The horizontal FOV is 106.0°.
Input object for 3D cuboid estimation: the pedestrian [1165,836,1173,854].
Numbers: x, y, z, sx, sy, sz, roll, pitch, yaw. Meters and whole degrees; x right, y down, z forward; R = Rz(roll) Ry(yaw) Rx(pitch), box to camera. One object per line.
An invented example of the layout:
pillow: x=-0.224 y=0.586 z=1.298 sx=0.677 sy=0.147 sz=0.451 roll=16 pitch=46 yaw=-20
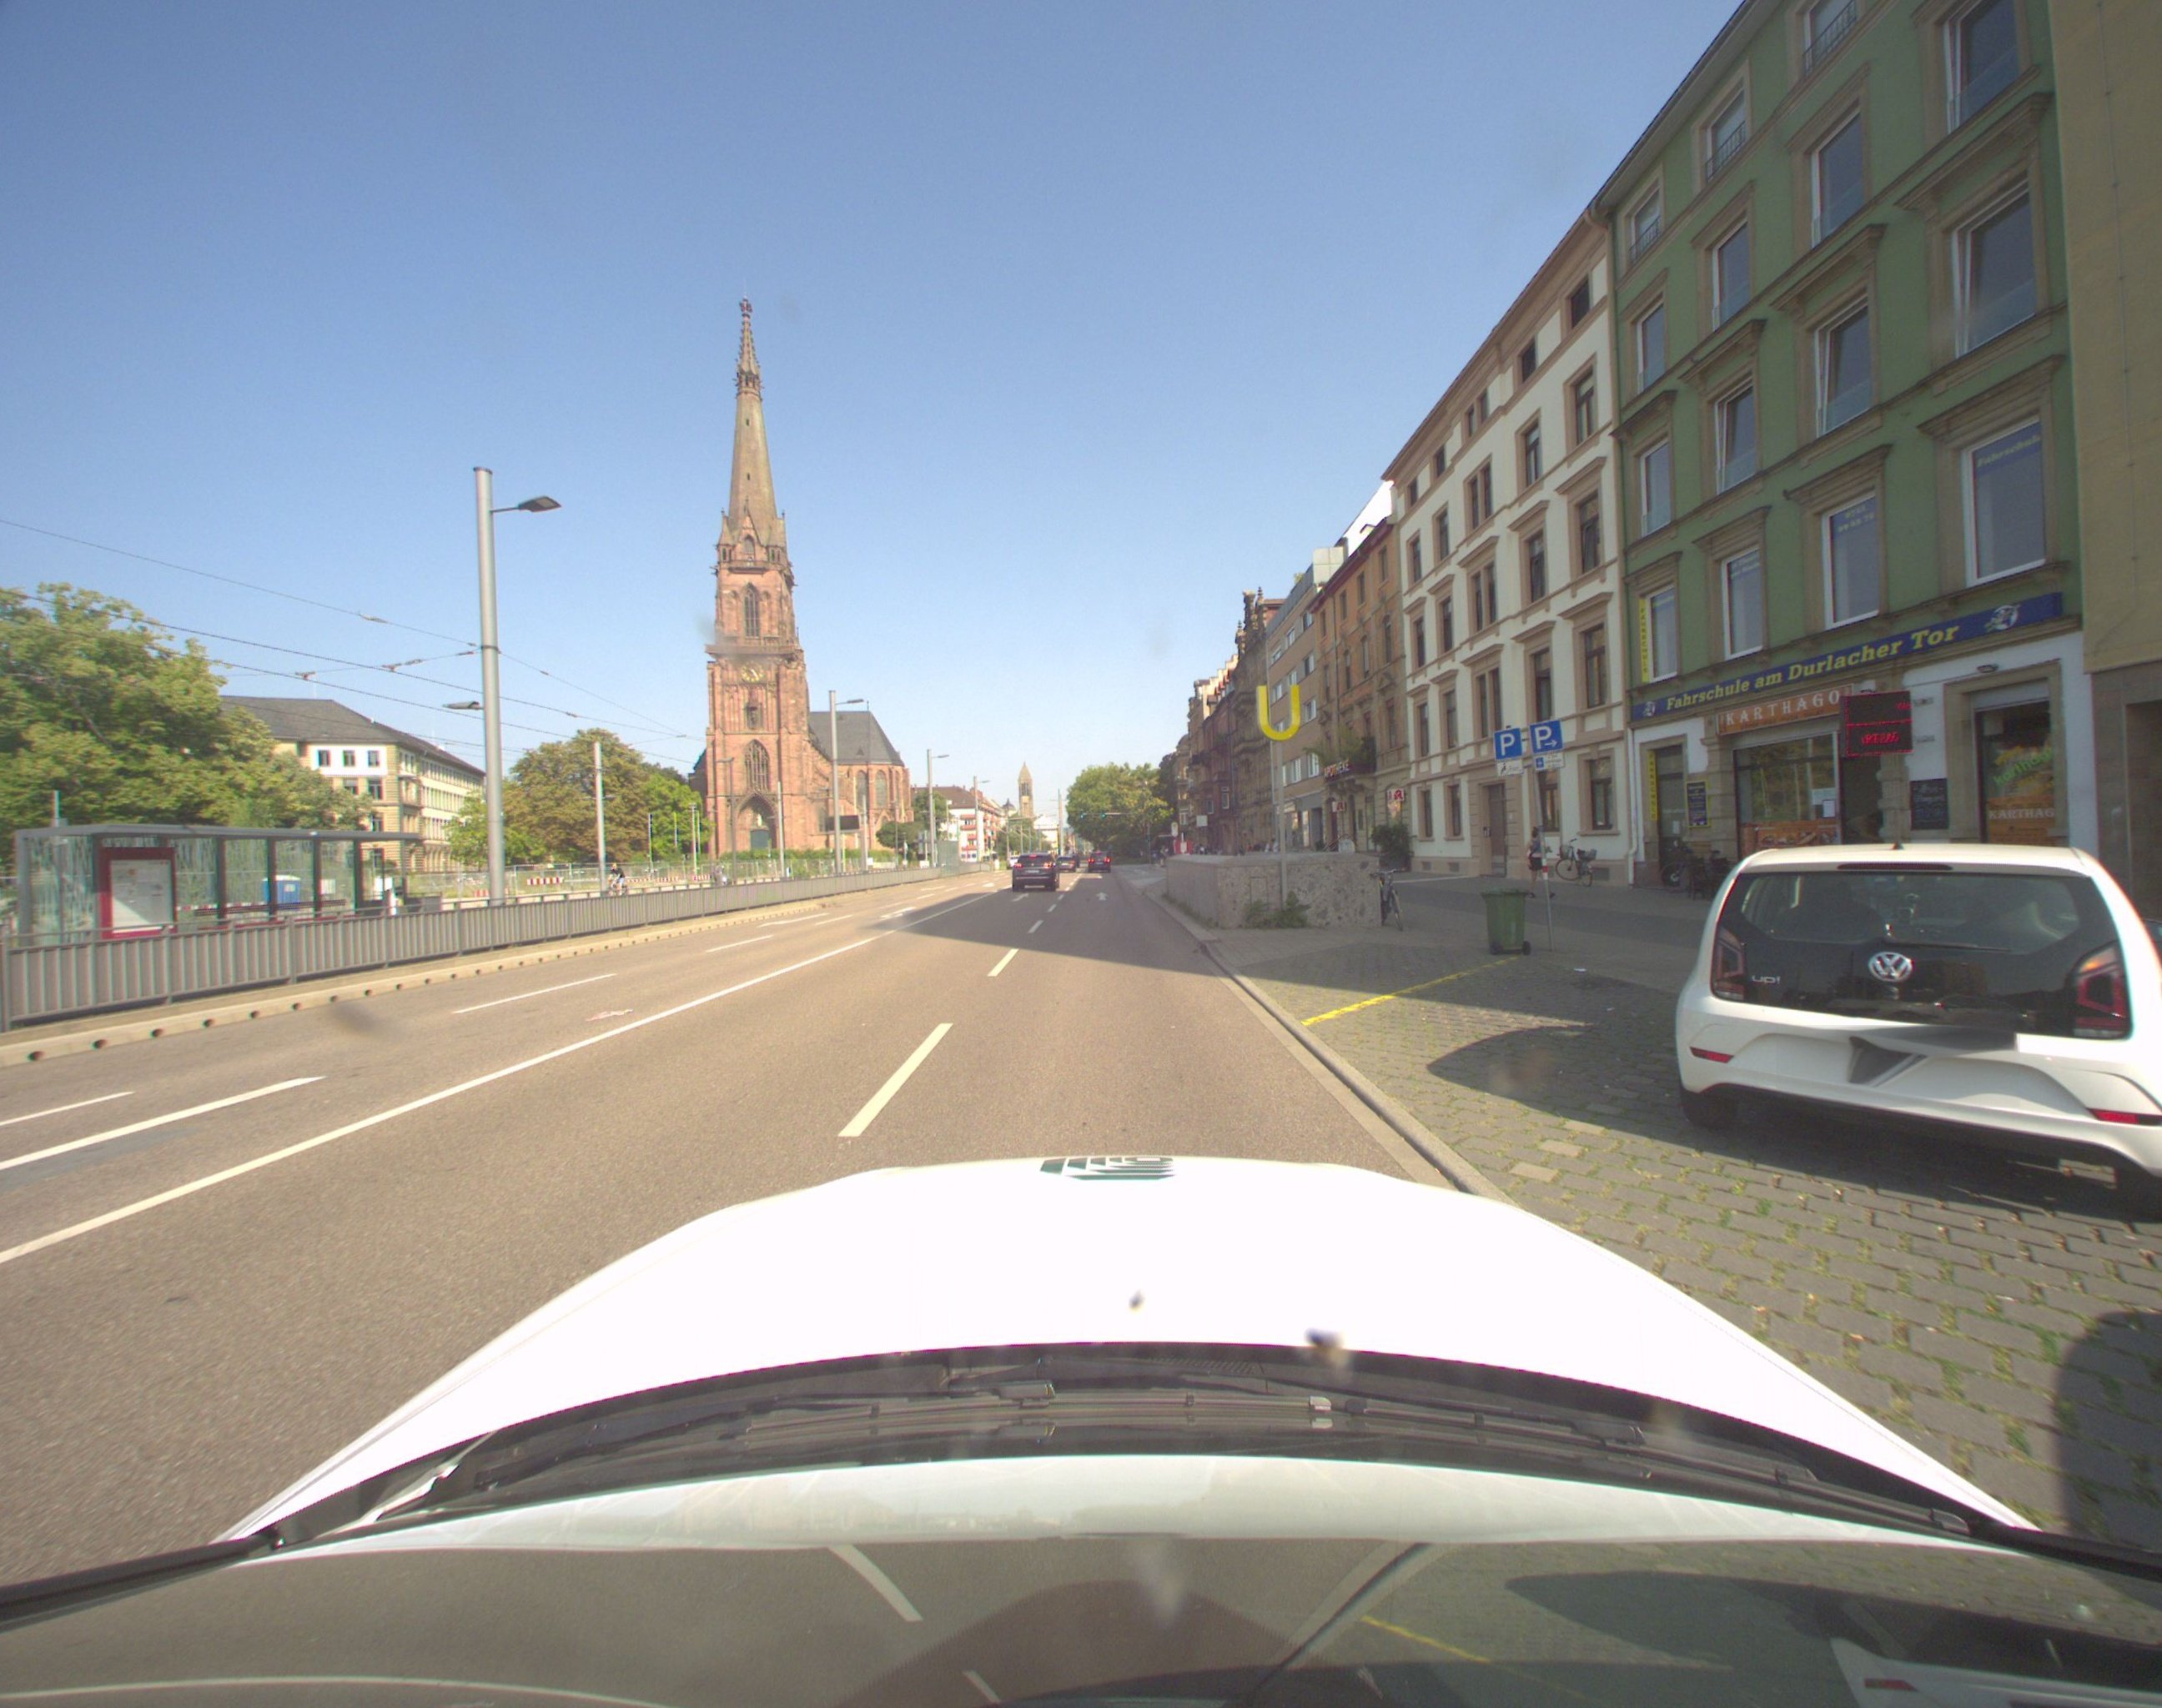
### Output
pedestrian: x=8.598 y=-0.875 z=79.849 sx=0.688 sy=1.664 sz=0.620 roll=-2 pitch=0 yaw=1

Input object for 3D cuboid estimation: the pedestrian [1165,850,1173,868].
pedestrian: x=7.816 y=0.446 z=72.561 sx=0.526 sy=1.612 sz=0.702 roll=-2 pitch=0 yaw=-2

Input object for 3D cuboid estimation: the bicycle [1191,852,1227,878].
bicycle: x=6.085 y=0.534 z=38.750 sx=1.626 sy=1.148 sz=0.602 roll=-3 pitch=0 yaw=3

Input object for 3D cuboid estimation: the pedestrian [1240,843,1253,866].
pedestrian: x=11.675 y=0.016 z=57.525 sx=0.717 sy=1.610 sz=0.856 roll=-2 pitch=0 yaw=2

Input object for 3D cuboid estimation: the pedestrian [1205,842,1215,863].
pedestrian: x=11.428 y=-0.144 z=72.144 sx=0.614 sy=1.804 sz=1.072 roll=-2 pitch=0 yaw=2

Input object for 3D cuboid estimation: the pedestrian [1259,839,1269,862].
pedestrian: x=14.074 y=-0.241 z=62.583 sx=0.602 sy=1.731 sz=0.510 roll=-2 pitch=0 yaw=-2

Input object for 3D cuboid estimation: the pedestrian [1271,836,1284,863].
pedestrian: x=13.654 y=-0.333 z=56.532 sx=0.602 sy=1.831 sz=0.742 roll=-2 pitch=0 yaw=-2

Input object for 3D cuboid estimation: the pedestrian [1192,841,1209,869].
pedestrian: x=8.039 y=0.039 z=54.971 sx=0.923 sy=1.831 sz=0.800 roll=-2 pitch=0 yaw=-2

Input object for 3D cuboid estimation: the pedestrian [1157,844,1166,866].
pedestrian: x=6.444 y=0.053 z=65.354 sx=0.563 sy=1.729 sz=0.745 roll=-2 pitch=0 yaw=-2

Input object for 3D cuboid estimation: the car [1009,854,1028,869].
car: x=-7.395 y=0.890 z=96.193 sx=1.707 sy=1.611 sz=4.506 roll=-4 pitch=0 yaw=1

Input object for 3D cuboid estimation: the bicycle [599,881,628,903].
bicycle: x=-22.624 y=1.841 z=39.438 sx=0.349 sy=0.954 sz=1.696 roll=-2 pitch=0 yaw=2

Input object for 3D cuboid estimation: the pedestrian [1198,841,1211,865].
pedestrian: x=8.999 y=-0.059 z=59.327 sx=0.747 sy=1.729 sz=0.800 roll=-2 pitch=0 yaw=-2

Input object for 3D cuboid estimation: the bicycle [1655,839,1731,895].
bicycle: x=13.349 y=0.268 z=17.825 sx=0.382 sy=1.134 sz=1.720 roll=-2 pitch=0 yaw=2

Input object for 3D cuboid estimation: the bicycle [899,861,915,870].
bicycle: x=-20.676 y=1.355 z=96.864 sx=1.747 sy=0.978 sz=0.481 roll=-2 pitch=-1 yaw=10

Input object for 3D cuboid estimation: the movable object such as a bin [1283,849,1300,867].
movable object such as a bin: x=13.099 y=0.262 z=50.664 sx=0.738 sy=1.080 sz=0.666 roll=-2 pitch=0 yaw=-16

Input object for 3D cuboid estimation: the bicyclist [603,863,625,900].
bicyclist: x=-22.577 y=1.306 z=39.378 sx=0.485 sy=1.747 sz=0.819 roll=-2 pitch=0 yaw=2

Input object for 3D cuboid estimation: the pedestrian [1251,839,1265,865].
pedestrian: x=12.479 y=-0.116 z=57.449 sx=0.717 sy=1.787 sz=0.856 roll=-2 pitch=0 yaw=2

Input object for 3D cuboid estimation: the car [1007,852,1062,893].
car: x=-1.951 y=0.751 z=35.305 sx=1.986 sy=1.621 sz=4.359 roll=-1 pitch=0 yaw=2

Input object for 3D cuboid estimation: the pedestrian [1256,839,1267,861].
pedestrian: x=14.108 y=-0.310 z=63.598 sx=0.602 sy=1.692 sz=0.586 roll=-2 pitch=0 yaw=-2

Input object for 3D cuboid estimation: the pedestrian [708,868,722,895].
pedestrian: x=-23.108 y=1.733 z=51.380 sx=0.515 sy=1.700 sz=0.664 roll=-2 pitch=0 yaw=0

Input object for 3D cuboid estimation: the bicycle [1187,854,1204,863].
bicycle: x=14.050 y=0.524 z=99.662 sx=1.924 sy=1.048 sz=0.499 roll=-2 pitch=0 yaw=-5

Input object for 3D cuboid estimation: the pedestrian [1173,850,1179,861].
pedestrian: x=7.422 y=0.106 z=63.560 sx=0.302 sy=0.820 sz=0.603 roll=-2 pitch=0 yaw=-6

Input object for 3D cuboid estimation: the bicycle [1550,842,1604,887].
bicycle: x=13.211 y=0.258 z=21.743 sx=0.382 sy=1.134 sz=1.720 roll=-2 pitch=0 yaw=2

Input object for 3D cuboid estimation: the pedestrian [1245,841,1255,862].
pedestrian: x=13.781 y=-0.195 z=66.393 sx=0.602 sy=1.654 sz=0.586 roll=-2 pitch=0 yaw=-2

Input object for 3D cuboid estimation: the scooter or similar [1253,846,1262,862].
scooter or similar: x=13.315 y=-0.018 z=61.345 sx=0.359 sy=1.163 sz=1.152 roll=-2 pitch=0 yaw=-1

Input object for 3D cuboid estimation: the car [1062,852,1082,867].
car: x=-0.943 y=0.543 z=84.593 sx=1.857 sy=1.424 sz=4.359 roll=-1 pitch=0 yaw=2

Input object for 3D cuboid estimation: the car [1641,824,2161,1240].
car: x=4.665 y=0.604 z=4.582 sx=3.547 sy=1.464 sz=1.604 roll=-2 pitch=0 yaw=-41

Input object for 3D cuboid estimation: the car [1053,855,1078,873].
car: x=-1.274 y=0.803 z=68.922 sx=1.857 sy=1.424 sz=4.359 roll=-1 pitch=0 yaw=2

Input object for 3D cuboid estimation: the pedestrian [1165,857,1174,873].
pedestrian: x=7.108 y=0.883 z=65.456 sx=0.563 sy=1.277 sz=0.596 roll=-2 pitch=0 yaw=-3

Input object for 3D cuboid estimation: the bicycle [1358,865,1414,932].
bicycle: x=5.713 y=0.797 z=15.336 sx=0.382 sy=1.134 sz=1.791 roll=-2 pitch=0 yaw=2

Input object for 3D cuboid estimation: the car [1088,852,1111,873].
car: x=1.535 y=0.655 z=66.854 sx=1.825 sy=1.621 sz=4.359 roll=-1 pitch=0 yaw=2

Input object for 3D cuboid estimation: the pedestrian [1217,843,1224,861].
pedestrian: x=12.341 y=-0.181 z=72.106 sx=0.484 sy=1.610 sz=0.813 roll=-2 pitch=0 yaw=2

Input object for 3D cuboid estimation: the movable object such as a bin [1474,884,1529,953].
movable object such as a bin: x=5.930 y=0.902 z=11.506 sx=0.487 sy=0.903 sz=0.538 roll=-2 pitch=0 yaw=4

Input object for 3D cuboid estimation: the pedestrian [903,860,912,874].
pedestrian: x=-20.630 y=1.563 z=96.854 sx=0.910 sy=1.679 sz=0.604 roll=-2 pitch=0 yaw=11

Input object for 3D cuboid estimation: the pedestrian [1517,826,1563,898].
pedestrian: x=10.867 y=0.184 z=19.295 sx=0.606 sy=1.629 sz=0.737 roll=-2 pitch=0 yaw=2

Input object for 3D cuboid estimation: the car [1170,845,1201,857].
car: x=15.316 y=-0.402 z=119.030 sx=4.171 sy=1.563 sz=1.998 roll=-3 pitch=0 yaw=-3

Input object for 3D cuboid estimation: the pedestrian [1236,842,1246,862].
pedestrian: x=13.672 y=-0.173 z=69.577 sx=0.627 sy=1.719 sz=0.691 roll=-2 pitch=0 yaw=1
